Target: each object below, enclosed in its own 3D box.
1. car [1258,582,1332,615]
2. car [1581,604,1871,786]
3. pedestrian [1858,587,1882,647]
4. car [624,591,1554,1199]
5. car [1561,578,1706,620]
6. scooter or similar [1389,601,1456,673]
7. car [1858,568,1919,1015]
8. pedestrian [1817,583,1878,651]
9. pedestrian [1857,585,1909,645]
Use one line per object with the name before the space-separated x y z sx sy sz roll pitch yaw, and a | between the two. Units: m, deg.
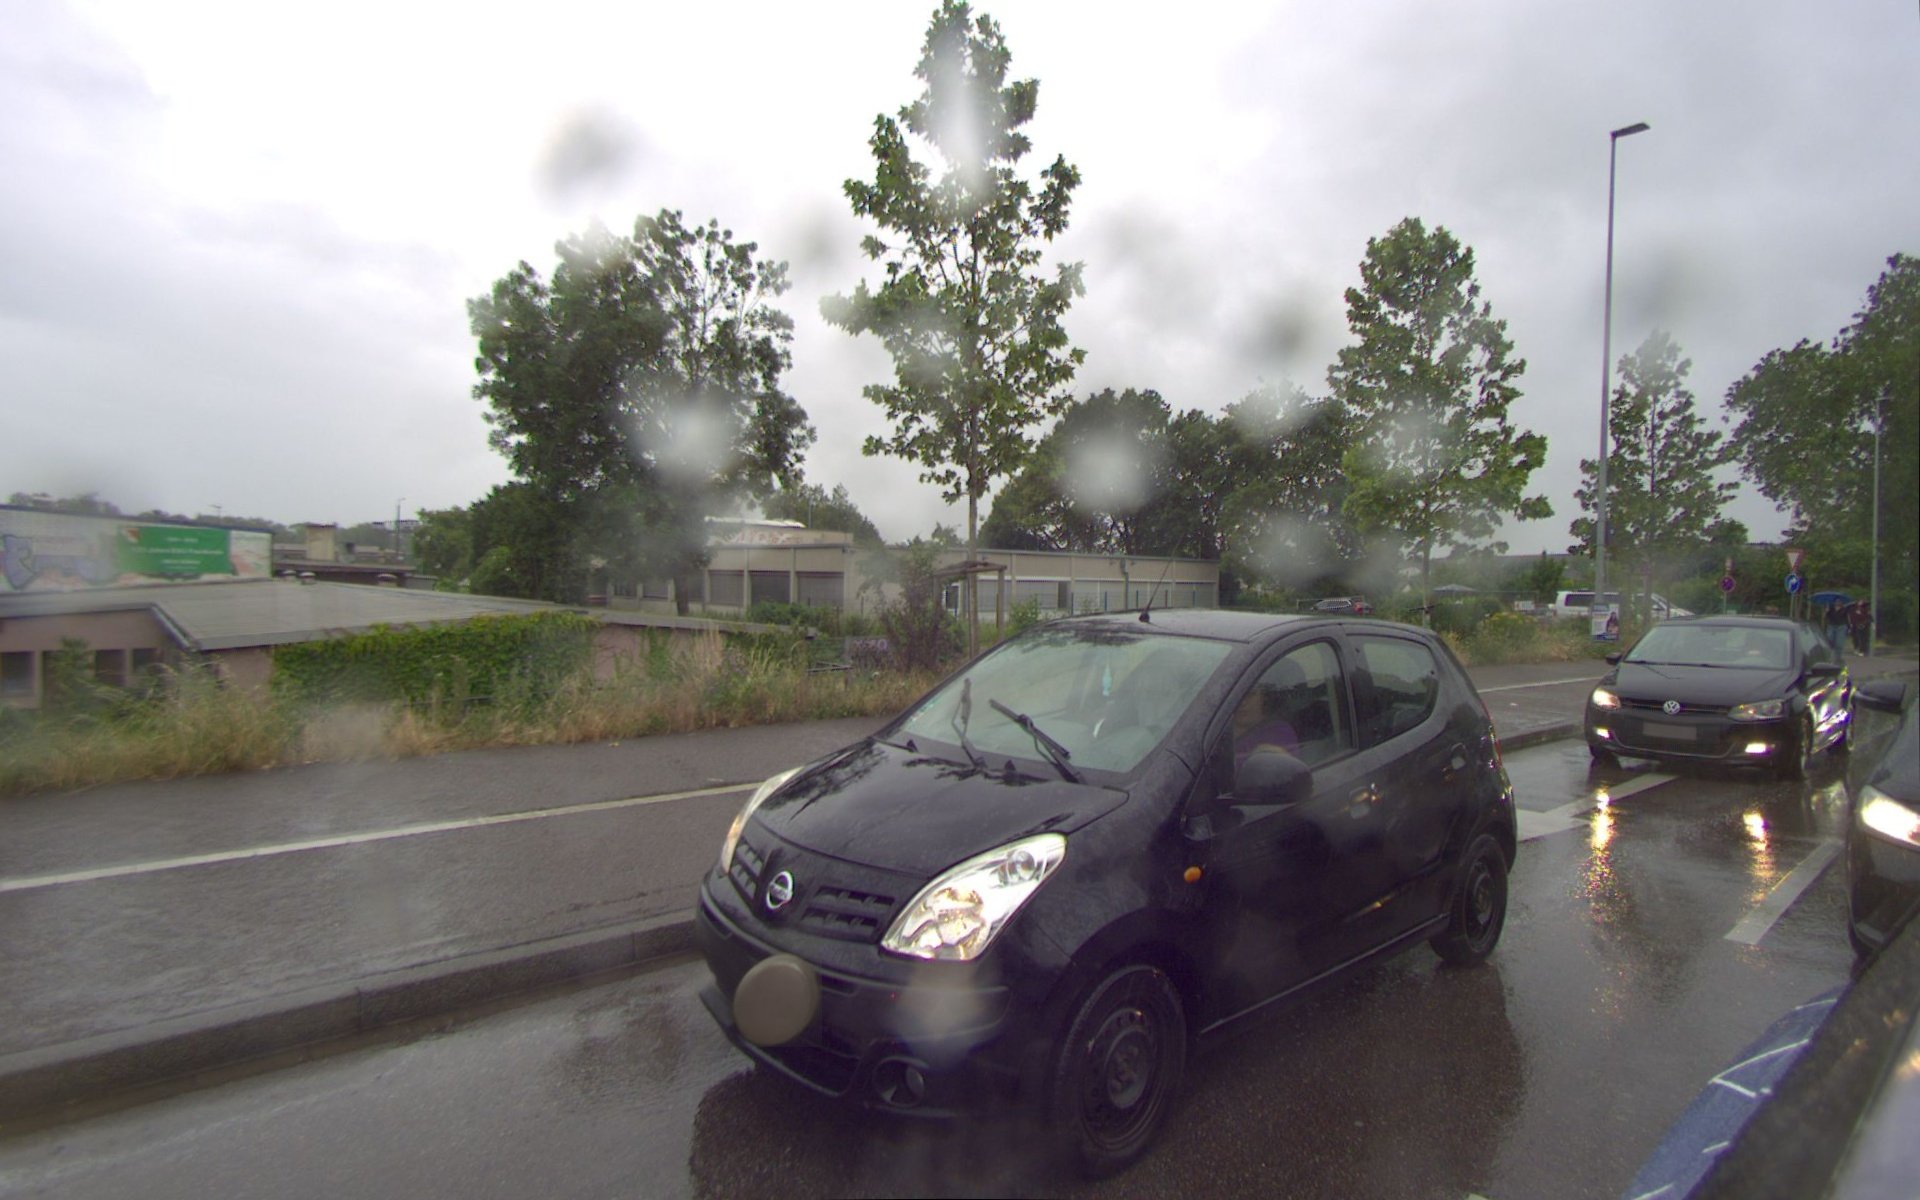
car | 20.998 -0.103 63.475 1.964 2.039 3.996 0 0 -38
car | 7.585 0.772 9.912 3.561 1.447 1.631 0 0 -42
pedestrian | 25.898 0.484 28.798 0.433 1.682 0.400 0 3 -42
car | 0.765 0.712 3.892 3.561 1.447 1.631 0 0 -42
car | 28.116 -0.060 42.390 1.966 1.670 4.752 -1 1 -42
scooter or similar | 7.900 0.611 17.246 1.747 1.144 0.380 -1 2 -43
car | 5.432 0.670 4.463 4.091 1.607 1.688 -1 0 -41
pedestrian | 24.035 0.436 27.399 0.953 1.777 1.081 0 2 -41
pedestrian | 28.183 0.438 30.912 0.876 1.729 1.024 0 3 -41
